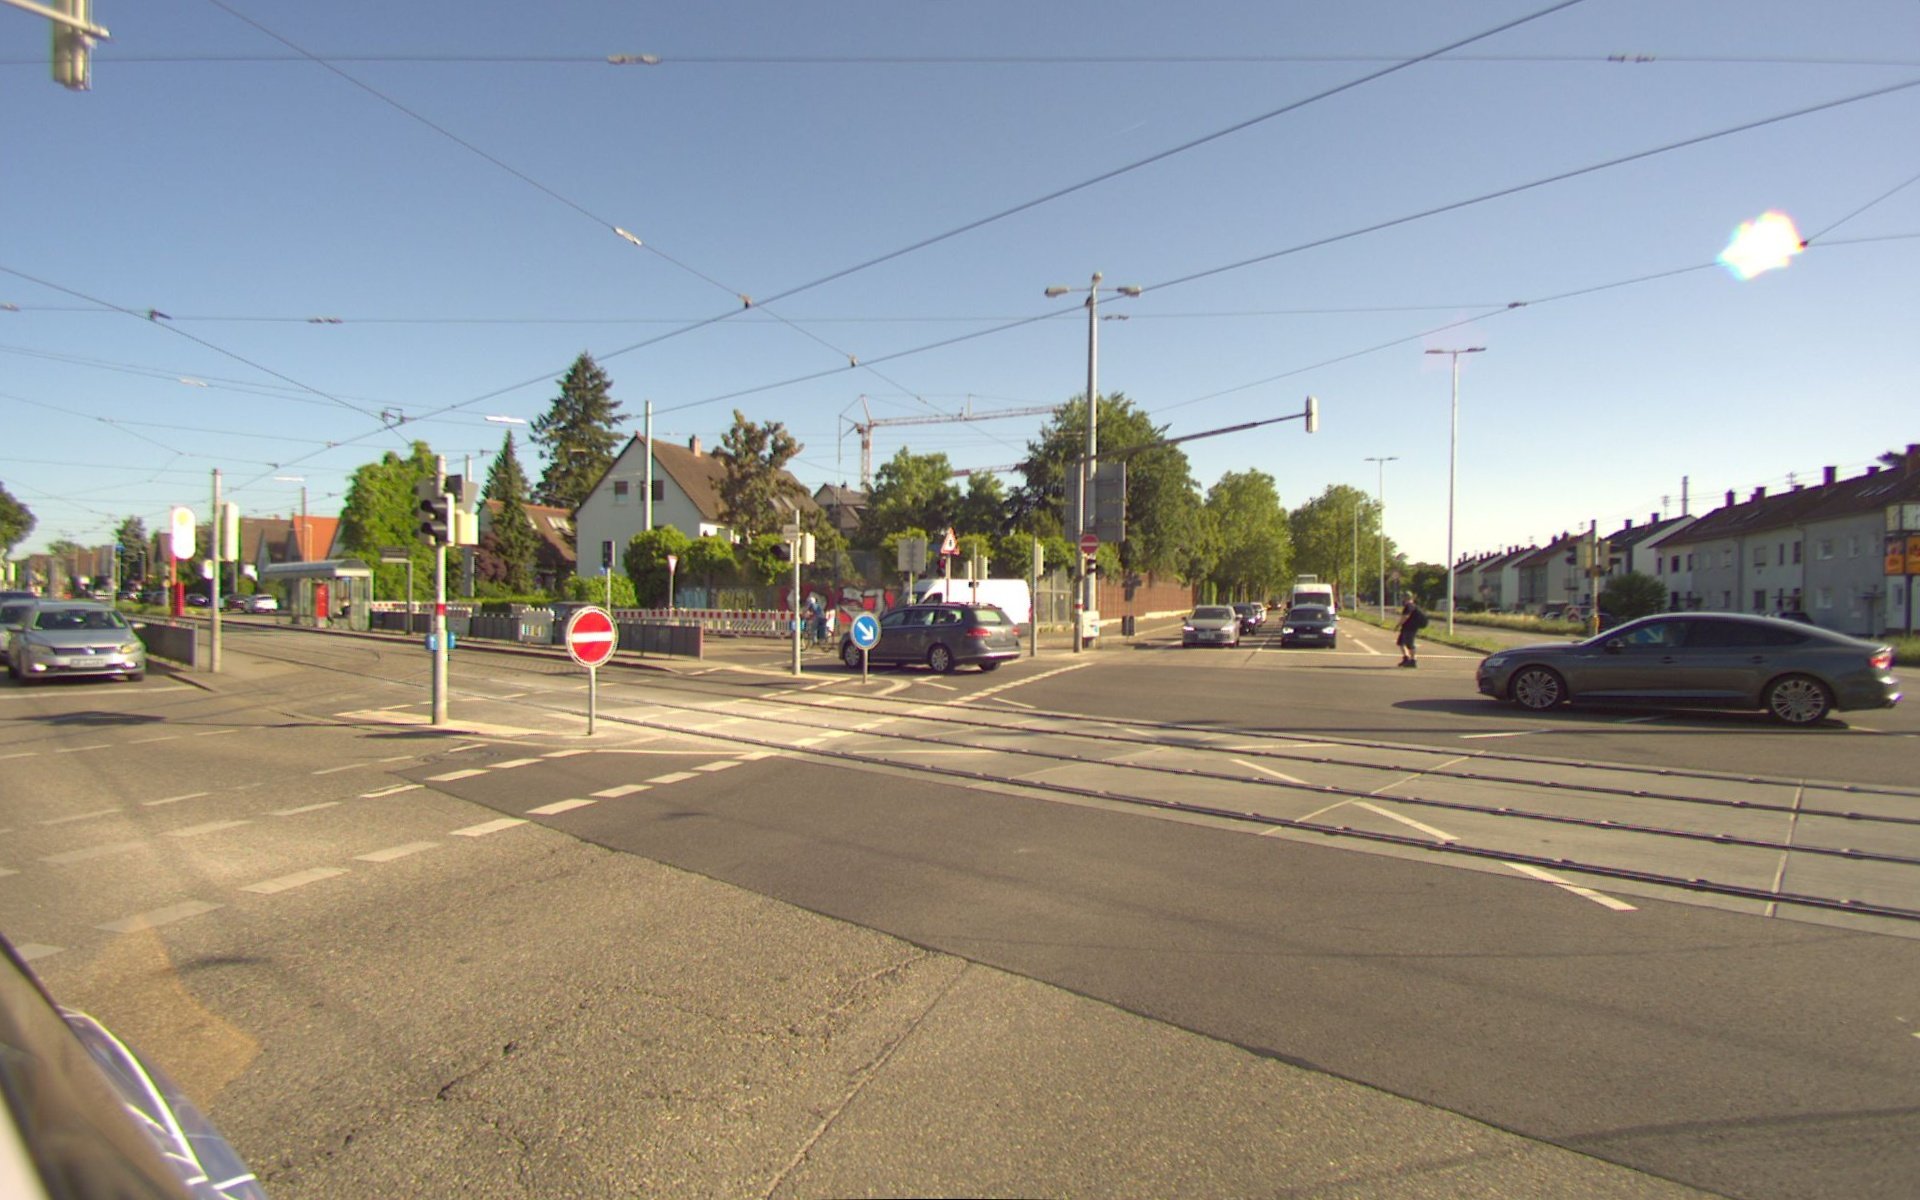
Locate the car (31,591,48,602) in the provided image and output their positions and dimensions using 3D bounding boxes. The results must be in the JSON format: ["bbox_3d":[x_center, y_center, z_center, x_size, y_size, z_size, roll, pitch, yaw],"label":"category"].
[{"bbox_3d":[-157.448,-0.602,173.114,4.002,1.785,1.971,0,-1,45],"label":"car"}]

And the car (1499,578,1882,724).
[{"bbox_3d":[9.700,0.598,13.728,3.996,1.700,1.774,0,-1,38],"label":"car"}]

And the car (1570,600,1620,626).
[{"bbox_3d":[45.257,0.929,72.198,1.983,1.775,3.977,0,0,17],"label":"car"}]

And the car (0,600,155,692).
[{"bbox_3d":[-16.829,0.777,19.149,4.421,1.539,1.856,0,-1,43],"label":"car"}]

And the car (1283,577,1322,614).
[{"bbox_3d":[19.277,-0.228,57.078,1.792,2.029,3.980,0,0,15],"label":"car"}]

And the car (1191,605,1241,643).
[{"bbox_3d":[10.904,0.985,42.967,1.921,1.477,4.343,0,0,16],"label":"car"}]

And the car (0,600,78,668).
[{"bbox_3d":[-22.086,0.753,23.889,3.414,1.479,1.564,0,0,43],"label":"car"}]

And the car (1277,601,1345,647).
[{"bbox_3d":[11.862,0.776,34.435,1.921,1.477,4.227,0,0,16],"label":"car"}]

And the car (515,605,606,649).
[{"bbox_3d":[-14.009,0.906,35.420,1.663,1.469,3.706,1,-1,-45],"label":"car"}]

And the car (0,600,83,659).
[{"bbox_3d":[-26.544,0.793,28.883,4.193,1.546,1.732,0,-1,41],"label":"car"}]

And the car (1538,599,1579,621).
[{"bbox_3d":[48.663,0.790,82.313,1.983,1.775,3.977,0,0,17],"label":"car"}]

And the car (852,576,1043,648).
[{"bbox_3d":[-0.418,0.451,37.471,6.752,2.476,2.356,0,-1,-29],"label":"car"}]

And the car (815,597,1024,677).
[{"bbox_3d":[-0.984,0.759,22.579,4.688,1.608,1.795,0,0,39],"label":"car"}]

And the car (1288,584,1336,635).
[{"bbox_3d":[17.751,0.457,51.247,2.163,2.429,5.886,0,0,18],"label":"car"}]

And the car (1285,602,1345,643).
[{"bbox_3d":[13.833,0.850,39.621,1.921,1.477,4.237,-1,-1,16],"label":"car"}]

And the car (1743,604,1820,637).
[{"bbox_3d":[46.417,1.121,57.293,1.983,1.775,3.977,0,-1,17],"label":"car"}]

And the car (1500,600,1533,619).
[{"bbox_3d":[53.472,0.894,97.352,1.983,1.775,3.977,0,0,17],"label":"car"}]

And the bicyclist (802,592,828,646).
[{"bbox_3d":[-4.389,0.564,30.677,0.648,1.620,0.484,0,-1,44],"label":"bicyclist"}]

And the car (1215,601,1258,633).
[{"bbox_3d":[13.448,0.797,49.228,1.921,1.477,4.237,0,0,16],"label":"car"}]

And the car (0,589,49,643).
[{"bbox_3d":[-31.547,0.505,33.356,4.300,1.709,1.860,0,-1,43],"label":"car"}]

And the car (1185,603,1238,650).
[{"bbox_3d":[8.822,0.882,35.258,1.657,1.488,4.612,0,0,16],"label":"car"}]

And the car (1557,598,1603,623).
[{"bbox_3d":[46.869,0.783,76.610,1.983,1.775,3.977,0,0,17],"label":"car"}]

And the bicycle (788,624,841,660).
[{"bbox_3d":[-4.442,1.258,30.738,1.949,1.050,0.501,0,-1,44],"label":"bicycle"}]

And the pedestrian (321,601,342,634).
[{"bbox_3d":[-27.518,0.771,44.325,0.711,1.425,0.615,0,-1,42],"label":"pedestrian"}]

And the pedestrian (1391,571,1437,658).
[{"bbox_3d":[10.401,0.337,23.200,0.765,1.963,0.611,0,-1,0],"label":"pedestrian"}]
